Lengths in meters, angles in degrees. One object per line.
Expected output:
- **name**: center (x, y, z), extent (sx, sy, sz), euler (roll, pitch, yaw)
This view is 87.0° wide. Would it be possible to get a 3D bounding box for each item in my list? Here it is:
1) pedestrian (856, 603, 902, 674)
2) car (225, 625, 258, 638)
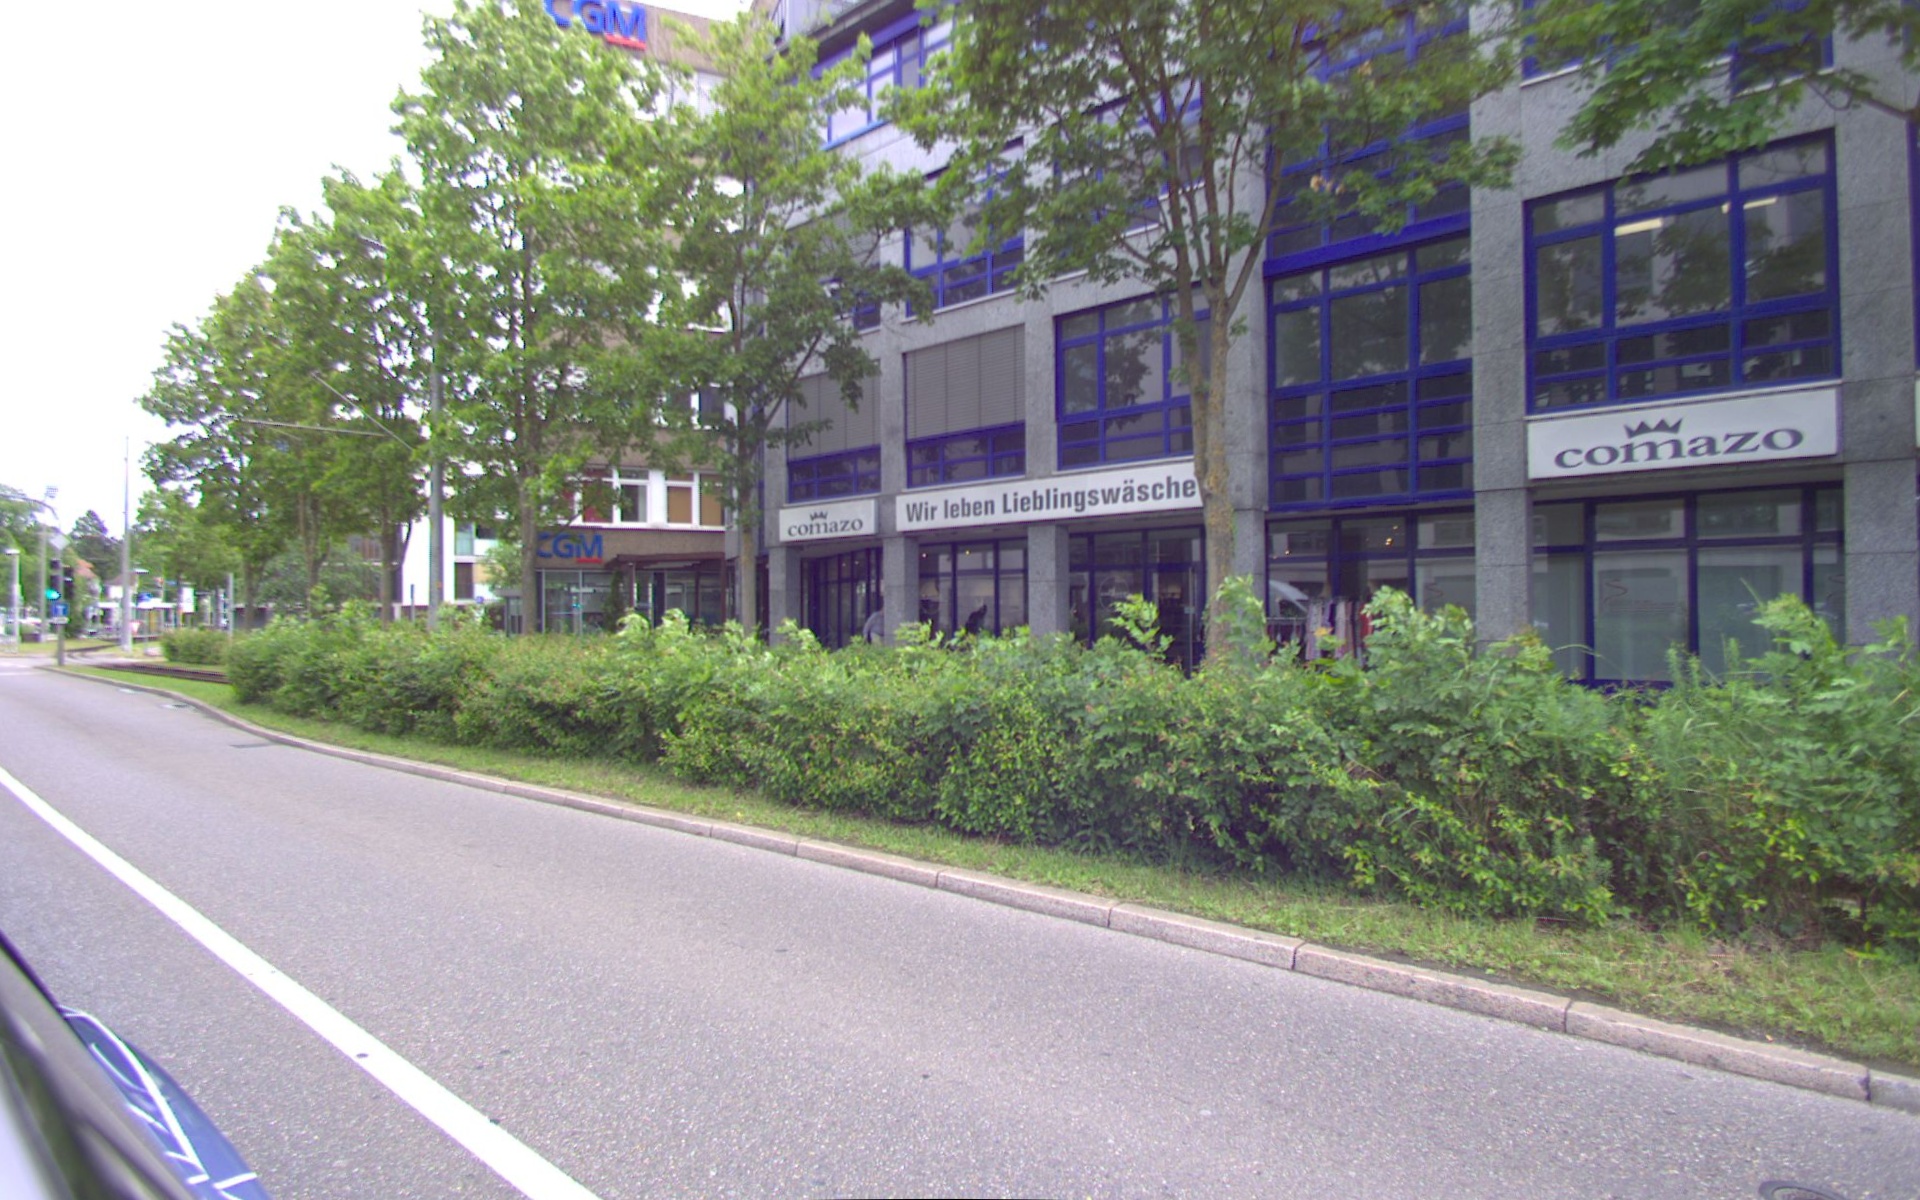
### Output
- **pedestrian**: center (-1.771, 0.832, 22.111), extent (0.679, 1.493, 0.690), euler (-2, 0, 41)
- **car**: center (-110.176, 4.848, 155.172), extent (1.975, 1.913, 3.993), euler (-1, 0, 6)
